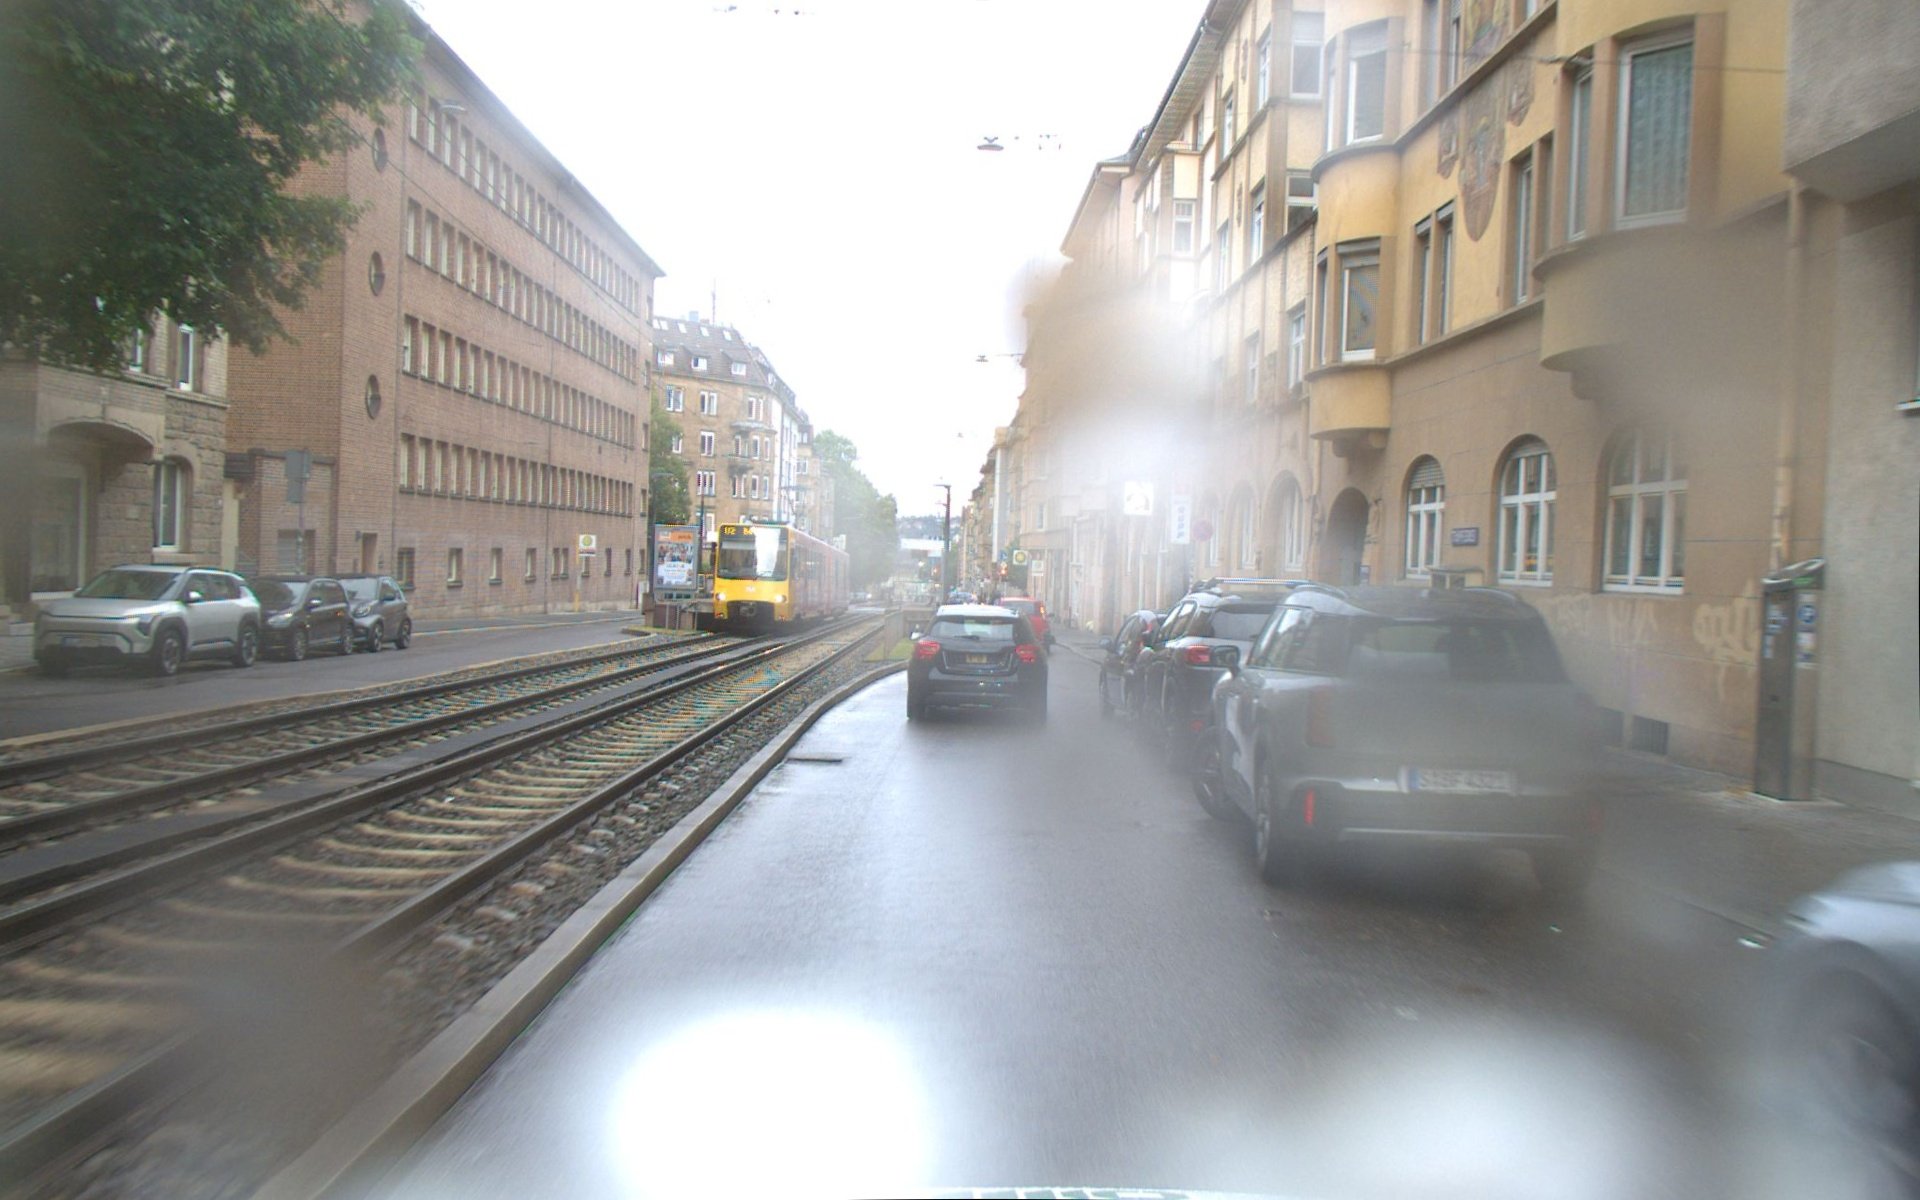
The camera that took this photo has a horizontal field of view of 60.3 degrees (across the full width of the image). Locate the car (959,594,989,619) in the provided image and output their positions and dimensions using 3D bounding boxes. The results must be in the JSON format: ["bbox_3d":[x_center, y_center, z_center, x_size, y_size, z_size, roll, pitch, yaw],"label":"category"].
[{"bbox_3d":[0.928,0.413,109.519,1.848,1.552,4.246,2,0,1],"label":"car"}]

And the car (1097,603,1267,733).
[{"bbox_3d":[2.775,0.823,21.306,1.559,1.465,3.308,3,-1,-2],"label":"car"}]

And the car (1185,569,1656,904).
[{"bbox_3d":[2.620,0.702,10.628,1.803,1.636,4.761,1,-1,2],"label":"car"}]

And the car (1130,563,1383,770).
[{"bbox_3d":[2.818,0.602,16.691,1.742,1.780,4.548,1,-1,0],"label":"car"}]

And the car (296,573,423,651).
[{"bbox_3d":[-12.351,0.223,34.184,1.540,1.492,3.044,2,0,-2],"label":"car"}]

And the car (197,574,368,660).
[{"bbox_3d":[-12.358,0.278,30.419,1.633,1.440,3.686,2,0,-1],"label":"car"}]

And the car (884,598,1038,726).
[{"bbox_3d":[0.001,0.737,21.565,1.797,1.478,3.901,1,0,0],"label":"car"}]

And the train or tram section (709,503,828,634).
[{"bbox_3d":[-6.773,-1.048,61.142,2.690,4.133,17.209,1,0,-1],"label":"train or tram section"}]

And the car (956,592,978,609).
[{"bbox_3d":[0.645,0.008,160.424,2.091,1.552,4.245,2,0,0],"label":"car"}]

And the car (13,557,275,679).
[{"bbox_3d":[-12.337,0.232,25.361,1.921,1.633,4.327,2,0,-2],"label":"car"}]

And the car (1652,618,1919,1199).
[{"bbox_3d":[3.029,0.796,2.711,1.795,1.493,4.373,1,-1,-3],"label":"car"}]

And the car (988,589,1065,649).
[{"bbox_3d":[1.835,0.525,46.778,1.953,1.552,4.245,2,0,0],"label":"car"}]

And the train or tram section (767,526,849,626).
[{"bbox_3d":[-6.922,-1.046,77.426,2.690,4.133,15.657,1,0,-1],"label":"train or tram section"}]
